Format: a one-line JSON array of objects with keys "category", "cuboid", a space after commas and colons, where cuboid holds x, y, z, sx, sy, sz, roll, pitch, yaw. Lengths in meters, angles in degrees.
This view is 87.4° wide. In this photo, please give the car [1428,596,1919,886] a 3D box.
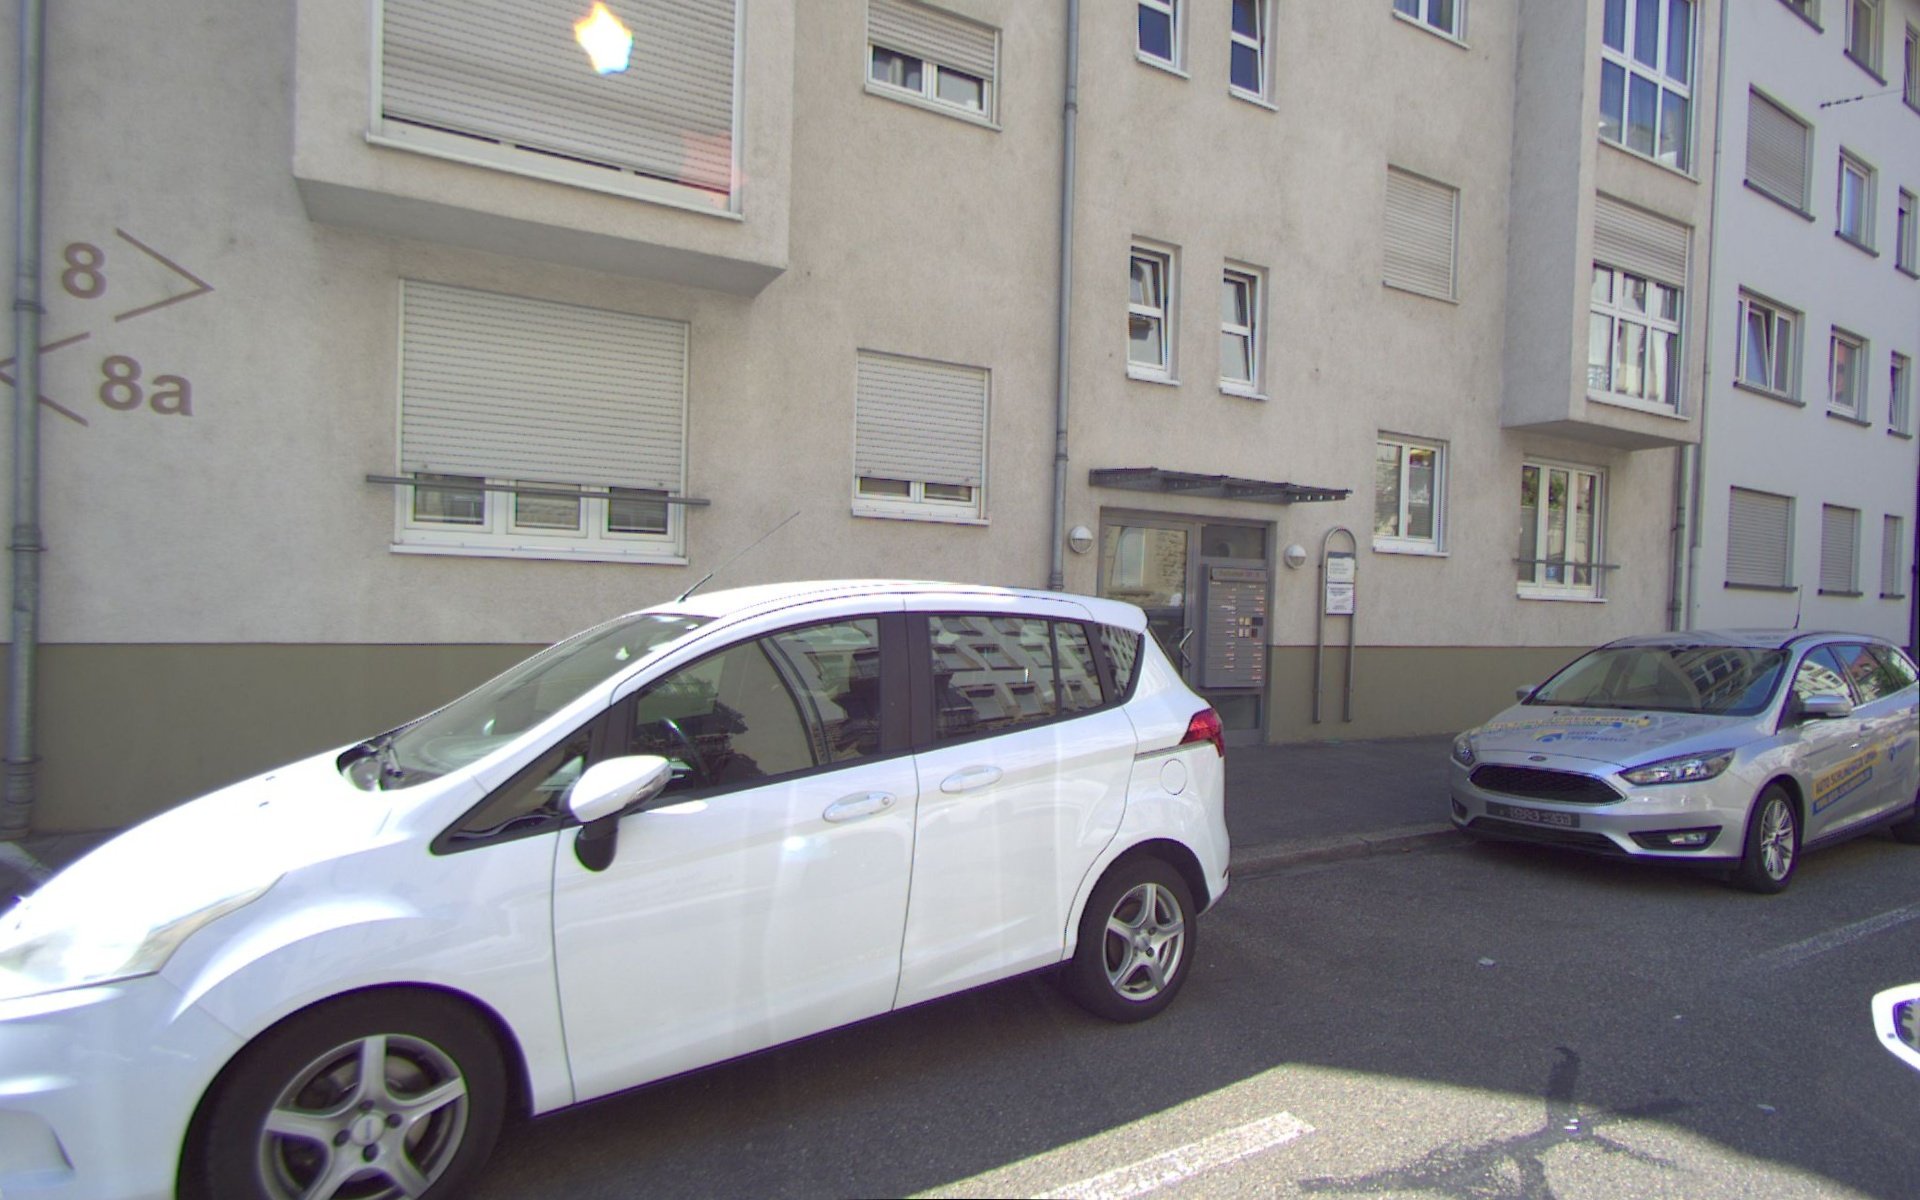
[{"category": "car", "cuboid": [5.404, 0.822, 7.132, 4.300, 1.514, 1.721, 2, -3, -32]}]

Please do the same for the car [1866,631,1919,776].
[{"category": "car", "cuboid": [11.444, 1.066, 10.545, 4.300, 1.411, 1.756, 2, -2, -32]}]

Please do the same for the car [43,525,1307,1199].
[{"category": "car", "cuboid": [-0.619, 0.732, 3.693, 3.814, 1.569, 1.619, 2, -4, -34]}]
